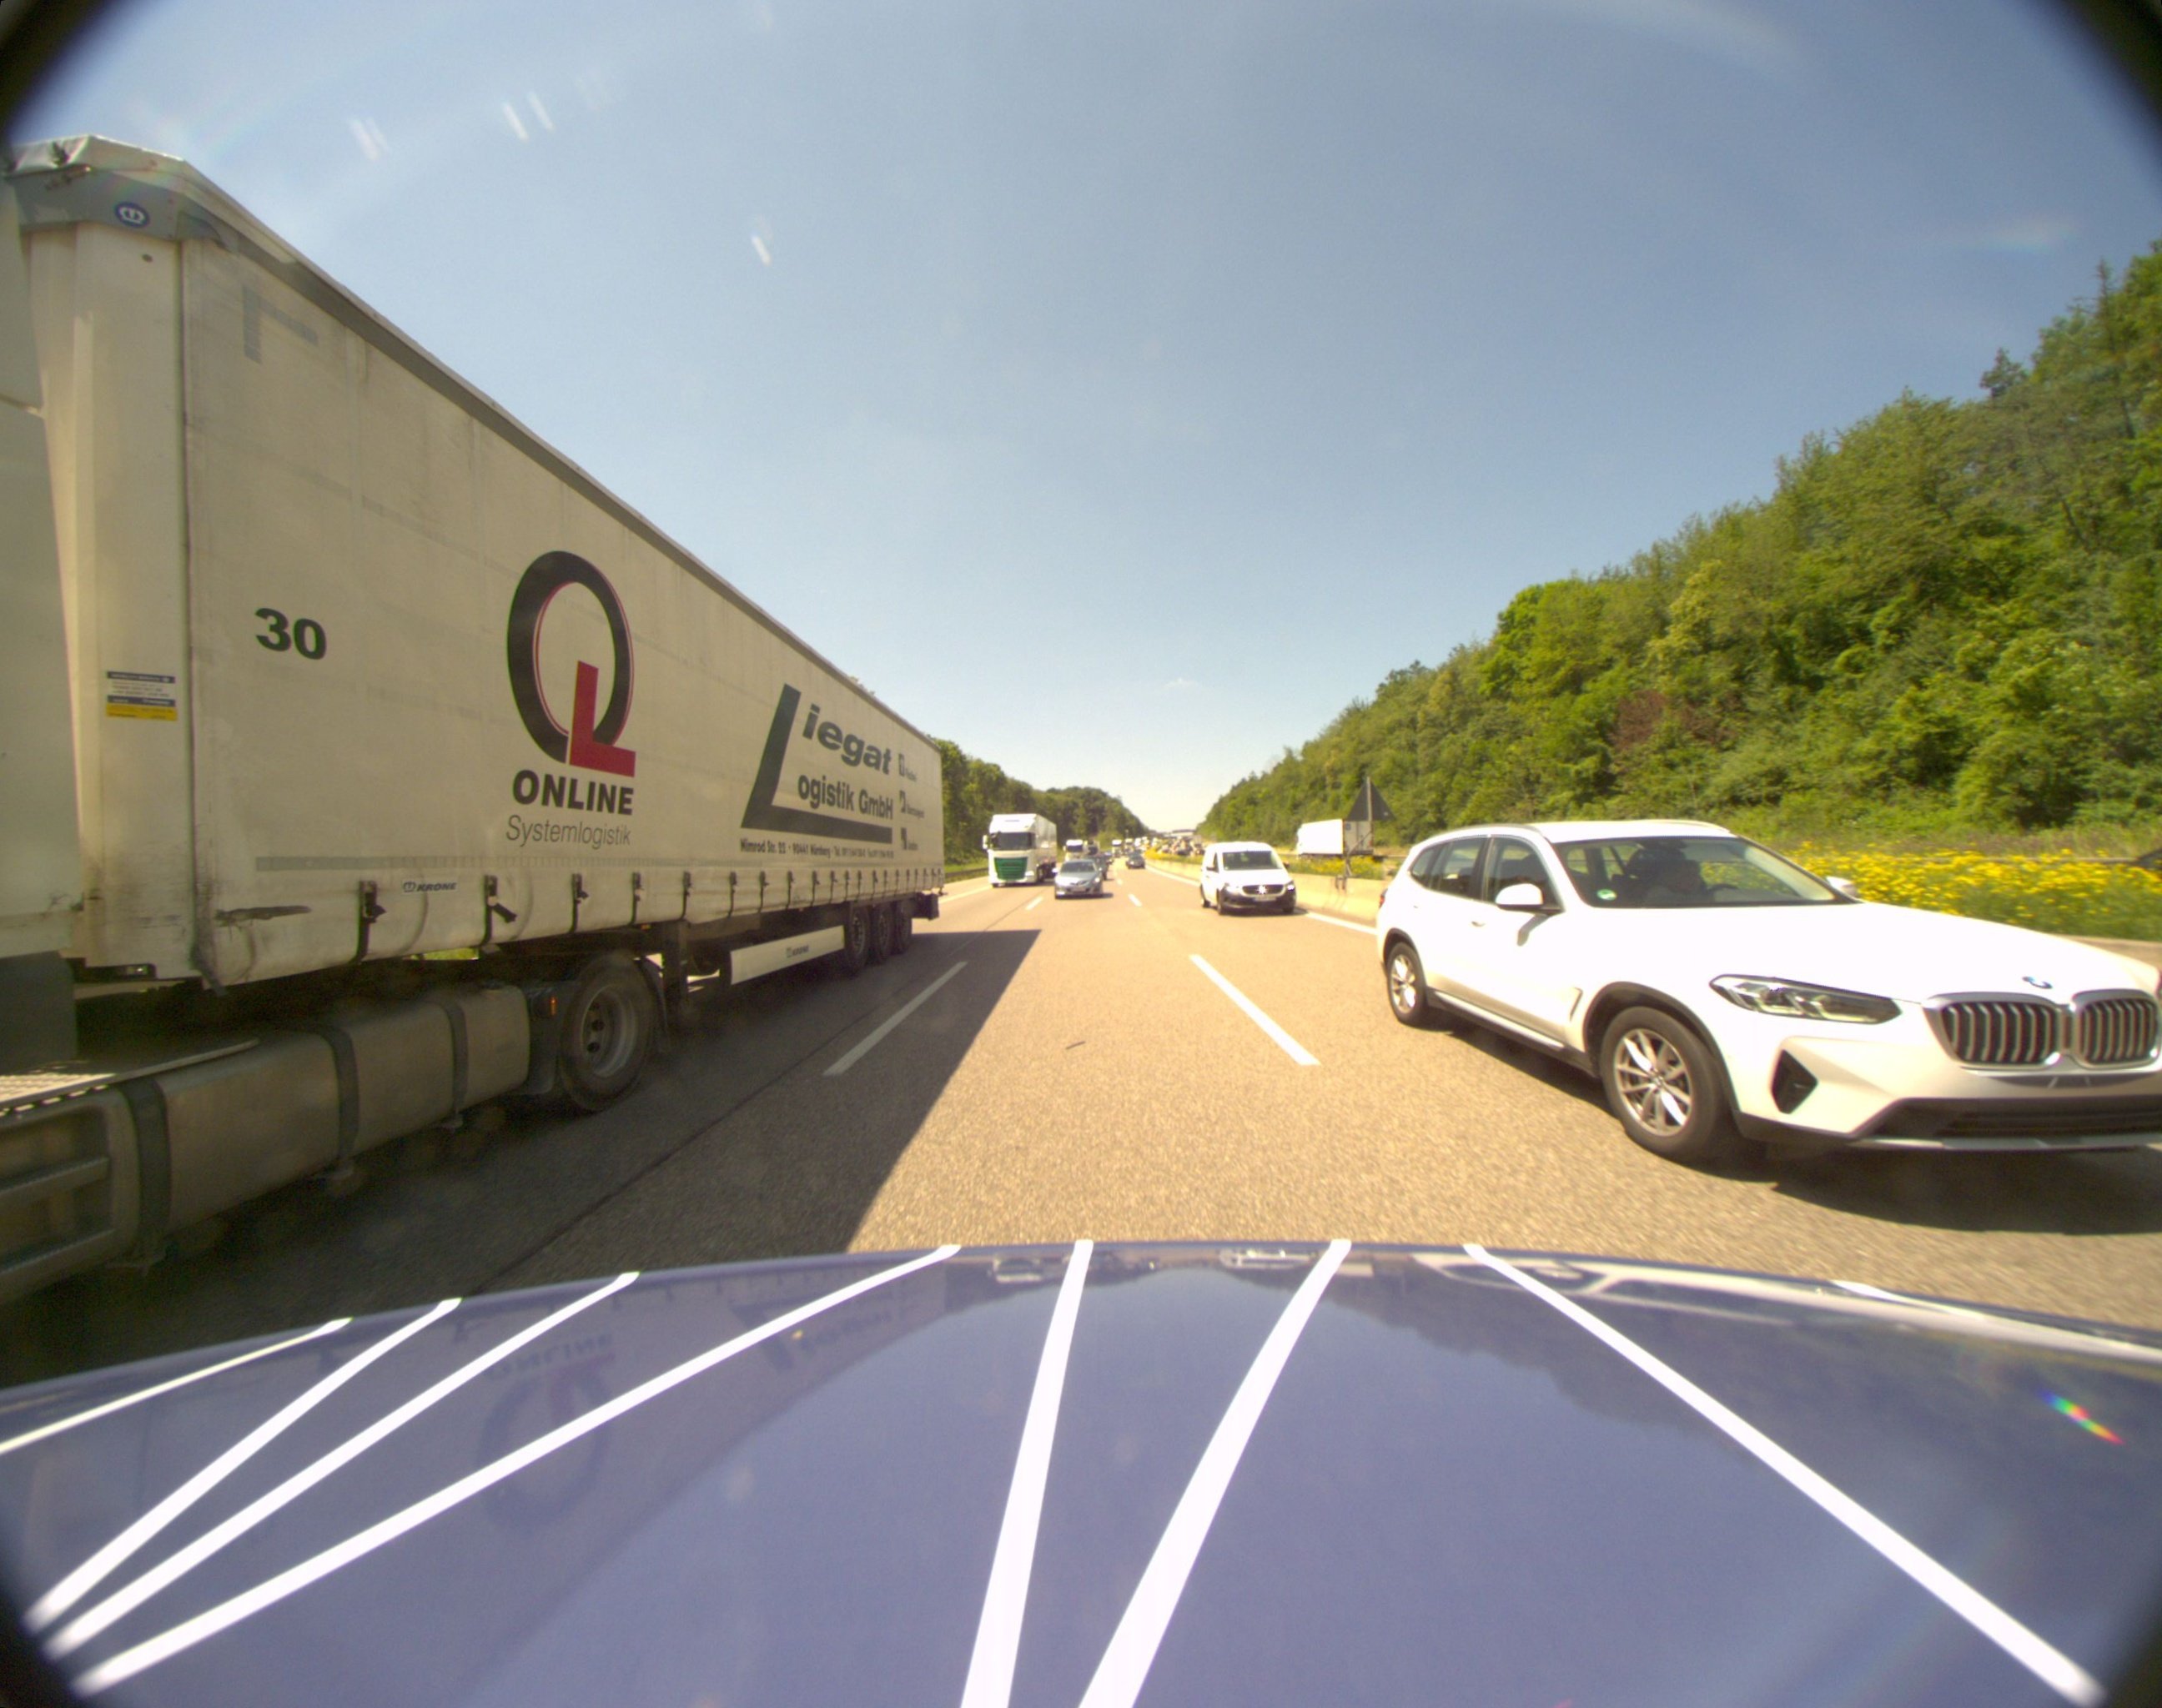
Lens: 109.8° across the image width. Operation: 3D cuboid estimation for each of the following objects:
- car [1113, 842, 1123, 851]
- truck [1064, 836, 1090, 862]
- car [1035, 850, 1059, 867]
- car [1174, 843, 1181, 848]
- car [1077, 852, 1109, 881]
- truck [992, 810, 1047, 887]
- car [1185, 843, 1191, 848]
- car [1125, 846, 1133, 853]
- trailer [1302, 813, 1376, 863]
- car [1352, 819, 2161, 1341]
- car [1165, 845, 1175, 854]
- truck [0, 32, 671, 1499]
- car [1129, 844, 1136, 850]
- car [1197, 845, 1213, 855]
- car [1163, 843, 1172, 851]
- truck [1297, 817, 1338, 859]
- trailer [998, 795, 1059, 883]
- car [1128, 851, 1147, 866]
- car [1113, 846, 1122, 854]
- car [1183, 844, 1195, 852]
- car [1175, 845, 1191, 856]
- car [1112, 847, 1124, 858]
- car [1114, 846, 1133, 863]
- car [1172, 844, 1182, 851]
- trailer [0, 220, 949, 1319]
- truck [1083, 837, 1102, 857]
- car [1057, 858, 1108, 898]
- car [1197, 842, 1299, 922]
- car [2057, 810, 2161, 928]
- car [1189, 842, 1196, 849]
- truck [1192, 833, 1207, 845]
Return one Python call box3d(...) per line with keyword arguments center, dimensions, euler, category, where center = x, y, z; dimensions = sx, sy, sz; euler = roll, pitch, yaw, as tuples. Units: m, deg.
box3d(center=(11.531, -2.336, 237.784), dimensions=(2.697, 2.467, 6.585), euler=(-2, 1, 5), category="car")
box3d(center=(-0.462, -0.715, 106.561), dimensions=(3.263, 3.337, 6.863), euler=(-2, 1, 2), category="truck")
box3d(center=(-3.223, 0.450, 73.374), dimensions=(1.933, 1.534, 3.756), euler=(-2, 0, 2), category="car")
box3d(center=(30.587, -2.676, 240.922), dimensions=(1.672, 1.381, 3.509), euler=(-2, 0, 2), category="car")
box3d(center=(0.752, 0.758, 47.632), dimensions=(1.887, 1.696, 4.084), euler=(-2, 0, 1), category="car")
box3d(center=(-3.398, -0.338, 43.426), dimensions=(2.542, 4.006, 6.623), euler=(-2, 1, -1), category="truck")
box3d(center=(33.682, -2.664, 239.939), dimensions=(1.618, 1.381, 3.509), euler=(-2, 0, 4), category="car")
box3d(center=(12.716, -1.306, 202.564), dimensions=(1.998, 1.728, 4.001), euler=(-2, 1, 5), category="car")
box3d(center=(23.893, -1.475, 71.264), dimensions=(2.721, 4.183, 13.932), euler=(-2, 1, 3), category="trailer")
box3d(center=(3.585, 0.725, 4.958), dimensions=(1.869, 1.684, 4.956), euler=(-2, 0, 1), category="car")
box3d(center=(19.596, -0.986, 167.640), dimensions=(1.998, 1.740, 4.000), euler=(-2, 0, 2), category="car")
box3d(center=(-4.459, -0.248, 2.545), dimensions=(2.793, 4.180, 5.870), euler=(-2, 0, 0), category="truck")
box3d(center=(15.539, -2.124, 229.630), dimensions=(1.998, 1.728, 4.001), euler=(-2, 1, 5), category="car")
box3d(center=(20.325, -0.685, 124.447), dimensions=(1.953, 1.632, 3.980), euler=(-2, 0, 2), category="car")
box3d(center=(23.789, -1.930, 208.566), dimensions=(1.998, 2.002, 4.900), euler=(-2, 1, 3), category="car")
box3d(center=(24.206, -1.601, 77.886), dimensions=(2.696, 4.066, 5.203), euler=(-2, 1, 3), category="truck")
box3d(center=(-3.243, -0.994, 51.810), dimensions=(2.574, 5.011, 15.270), euler=(-2, 1, 1), category="trailer")
box3d(center=(5.886, 0.445, 78.984), dimensions=(1.720, 1.470, 4.000), euler=(-2, 0, 1), category="car")
box3d(center=(8.490, -0.937, 175.350), dimensions=(1.998, 1.728, 4.000), euler=(-2, 1, 3), category="car")
box3d(center=(22.506, -1.221, 158.045), dimensions=(1.998, 1.718, 4.000), euler=(-2, 0, 2), category="car")
box3d(center=(15.814, -0.514, 117.961), dimensions=(1.998, 1.668, 4.080), euler=(-2, 0, 2), category="car")
box3d(center=(6.425, -0.234, 131.525), dimensions=(1.998, 1.728, 4.000), euler=(-2, 1, 3), category="car")
box3d(center=(5.343, 0.021, 96.008), dimensions=(1.999, 2.002, 3.999), euler=(-2, 1, -1), category="car")
box3d(center=(24.309, -1.553, 192.639), dimensions=(1.998, 1.740, 4.000), euler=(-2, 0, 2), category="car")
box3d(center=(-4.353, -0.228, 9.548), dimensions=(2.793, 4.180, 13.244), euler=(-2, -1, 0), category="trailer")
box3d(center=(2.260, -1.333, 146.909), dimensions=(3.558, 3.695, 7.550), euler=(-2, 1, 2), category="truck")
box3d(center=(0.109, 0.914, 30.887), dimensions=(1.887, 1.458, 4.248), euler=(-2, 0, 1), category="car")
box3d(center=(4.215, 0.643, 19.926), dimensions=(1.769, 1.802, 4.674), euler=(-2, 0, 2), category="car")
box3d(center=(14.567, 0.180, 8.573), dimensions=(1.998, 1.477, 3.999), euler=(-2, 1, 1), category="car")
box3d(center=(31.060, -2.314, 212.336), dimensions=(1.636, 2.002, 4.000), euler=(-2, 1, 4), category="car")
box3d(center=(41.568, -5.303, 266.636), dimensions=(3.718, 4.171, 13.794), euler=(-2, 1, 4), category="truck")
